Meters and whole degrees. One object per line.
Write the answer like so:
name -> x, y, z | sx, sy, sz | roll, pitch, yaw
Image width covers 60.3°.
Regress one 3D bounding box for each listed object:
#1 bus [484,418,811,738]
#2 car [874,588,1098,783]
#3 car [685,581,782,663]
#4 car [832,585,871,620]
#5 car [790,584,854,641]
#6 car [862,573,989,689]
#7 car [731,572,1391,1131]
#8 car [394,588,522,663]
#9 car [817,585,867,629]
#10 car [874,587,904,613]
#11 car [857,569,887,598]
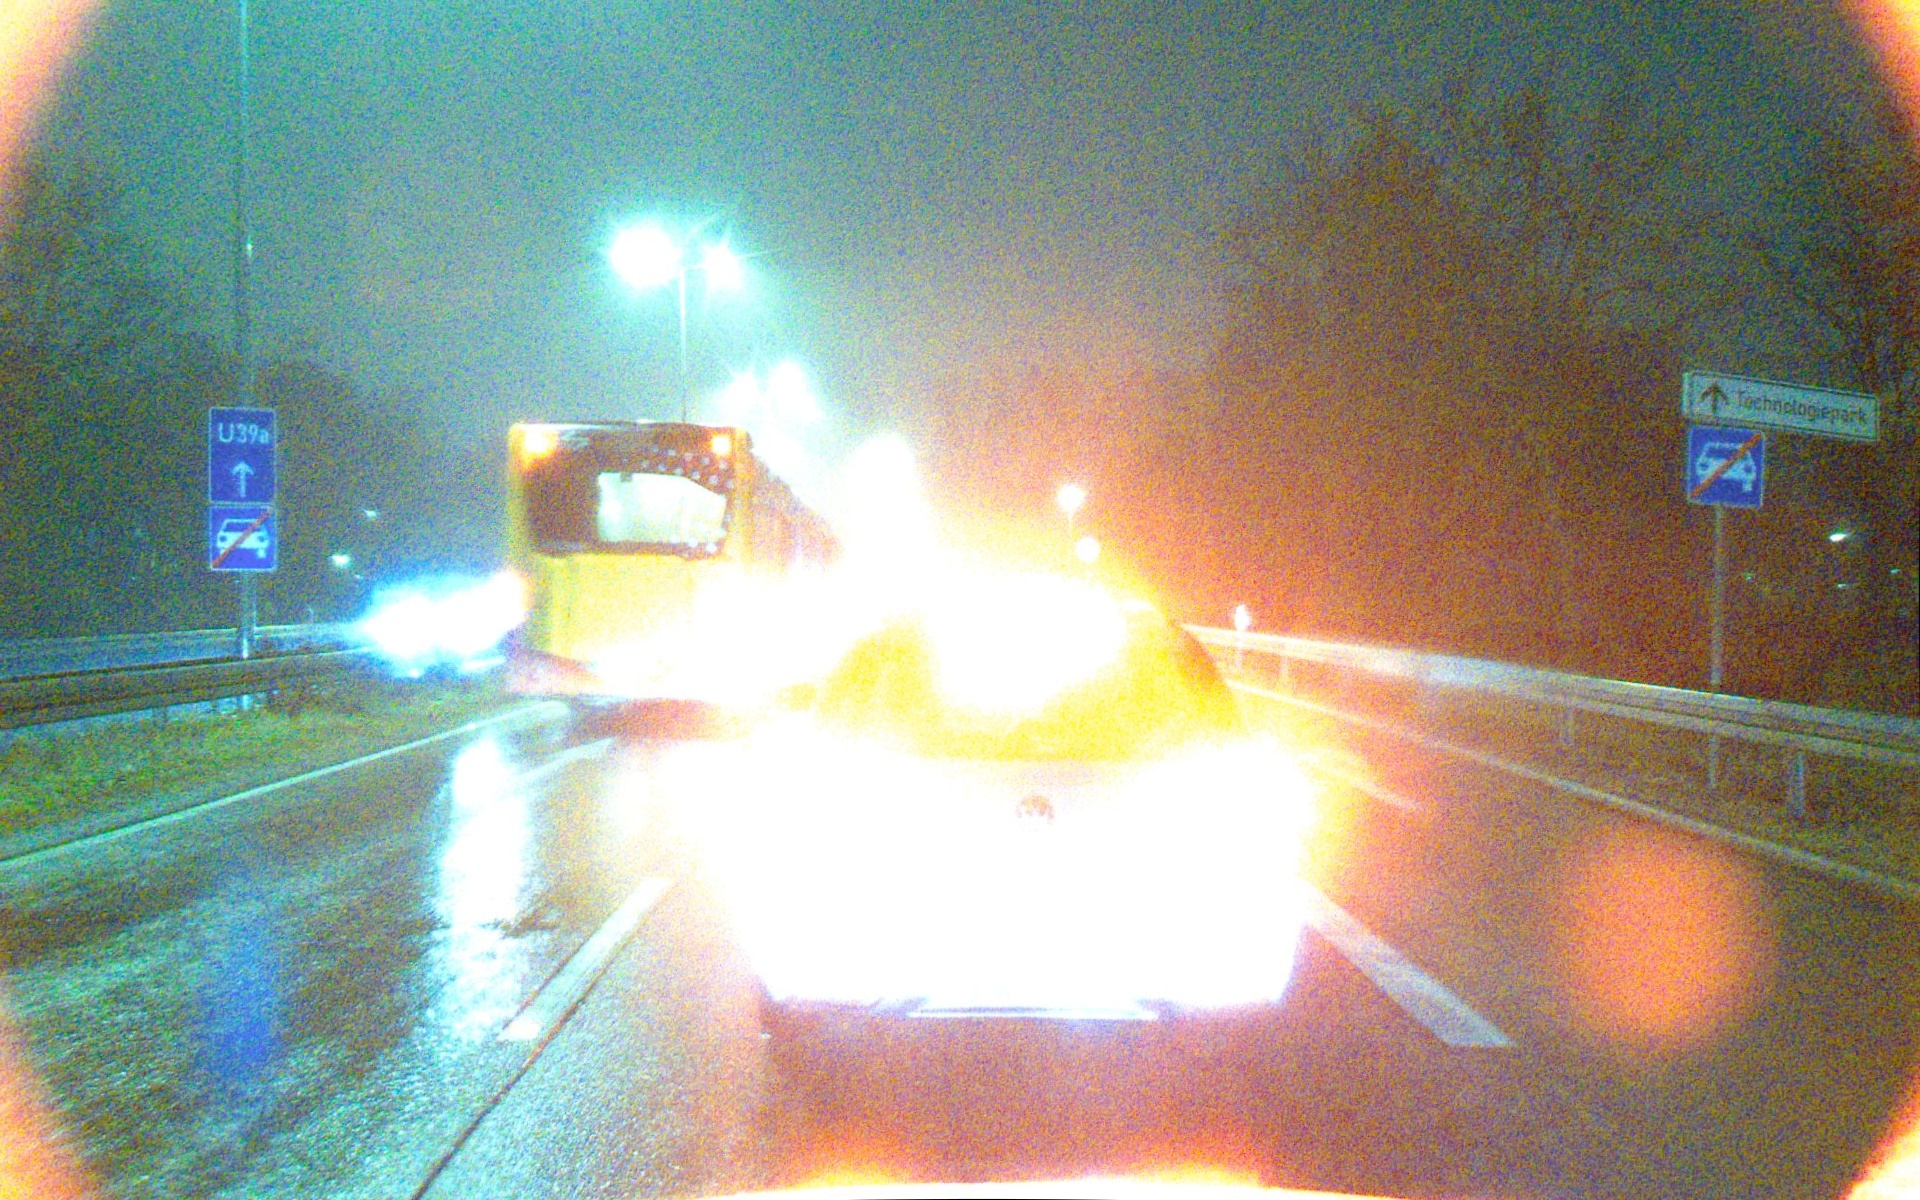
bus -> -3.407, -0.233, 20.337 | 2.759, 3.077, 8.682 | 0, 0, -3
car -> 0.095, 0.642, 15.013 | 1.697, 1.474, 4.722 | 1, 0, -3
car -> -4.620, 0.418, 34.178 | 1.744, 1.570, 3.871 | 1, 0, -4
car -> -5.101, 0.107, 77.475 | 1.744, 1.570, 3.871 | 1, 0, -4
car -> -3.973, 0.334, 48.041 | 1.744, 1.570, 3.872 | 1, 0, -3
car -> -0.591, 0.424, 24.853 | 1.705, 1.592, 3.773 | 1, 0, -4
car -> 0.244, 0.670, 6.770 | 1.784, 1.510, 4.567 | 0, 0, -1
car -> -11.150, 0.522, 36.969 | 1.716, 1.579, 4.009 | 0, 0, -2
car -> -4.389, 0.234, 61.950 | 1.744, 1.570, 3.873 | 1, 0, -3
car -> -4.418, -0.035, 103.227 | 1.743, 1.570, 3.874 | 1, 0, -1
car -> -6.329, -1.195, 119.436 | 1.953, 2.049, 3.999 | 1, 0, -1
